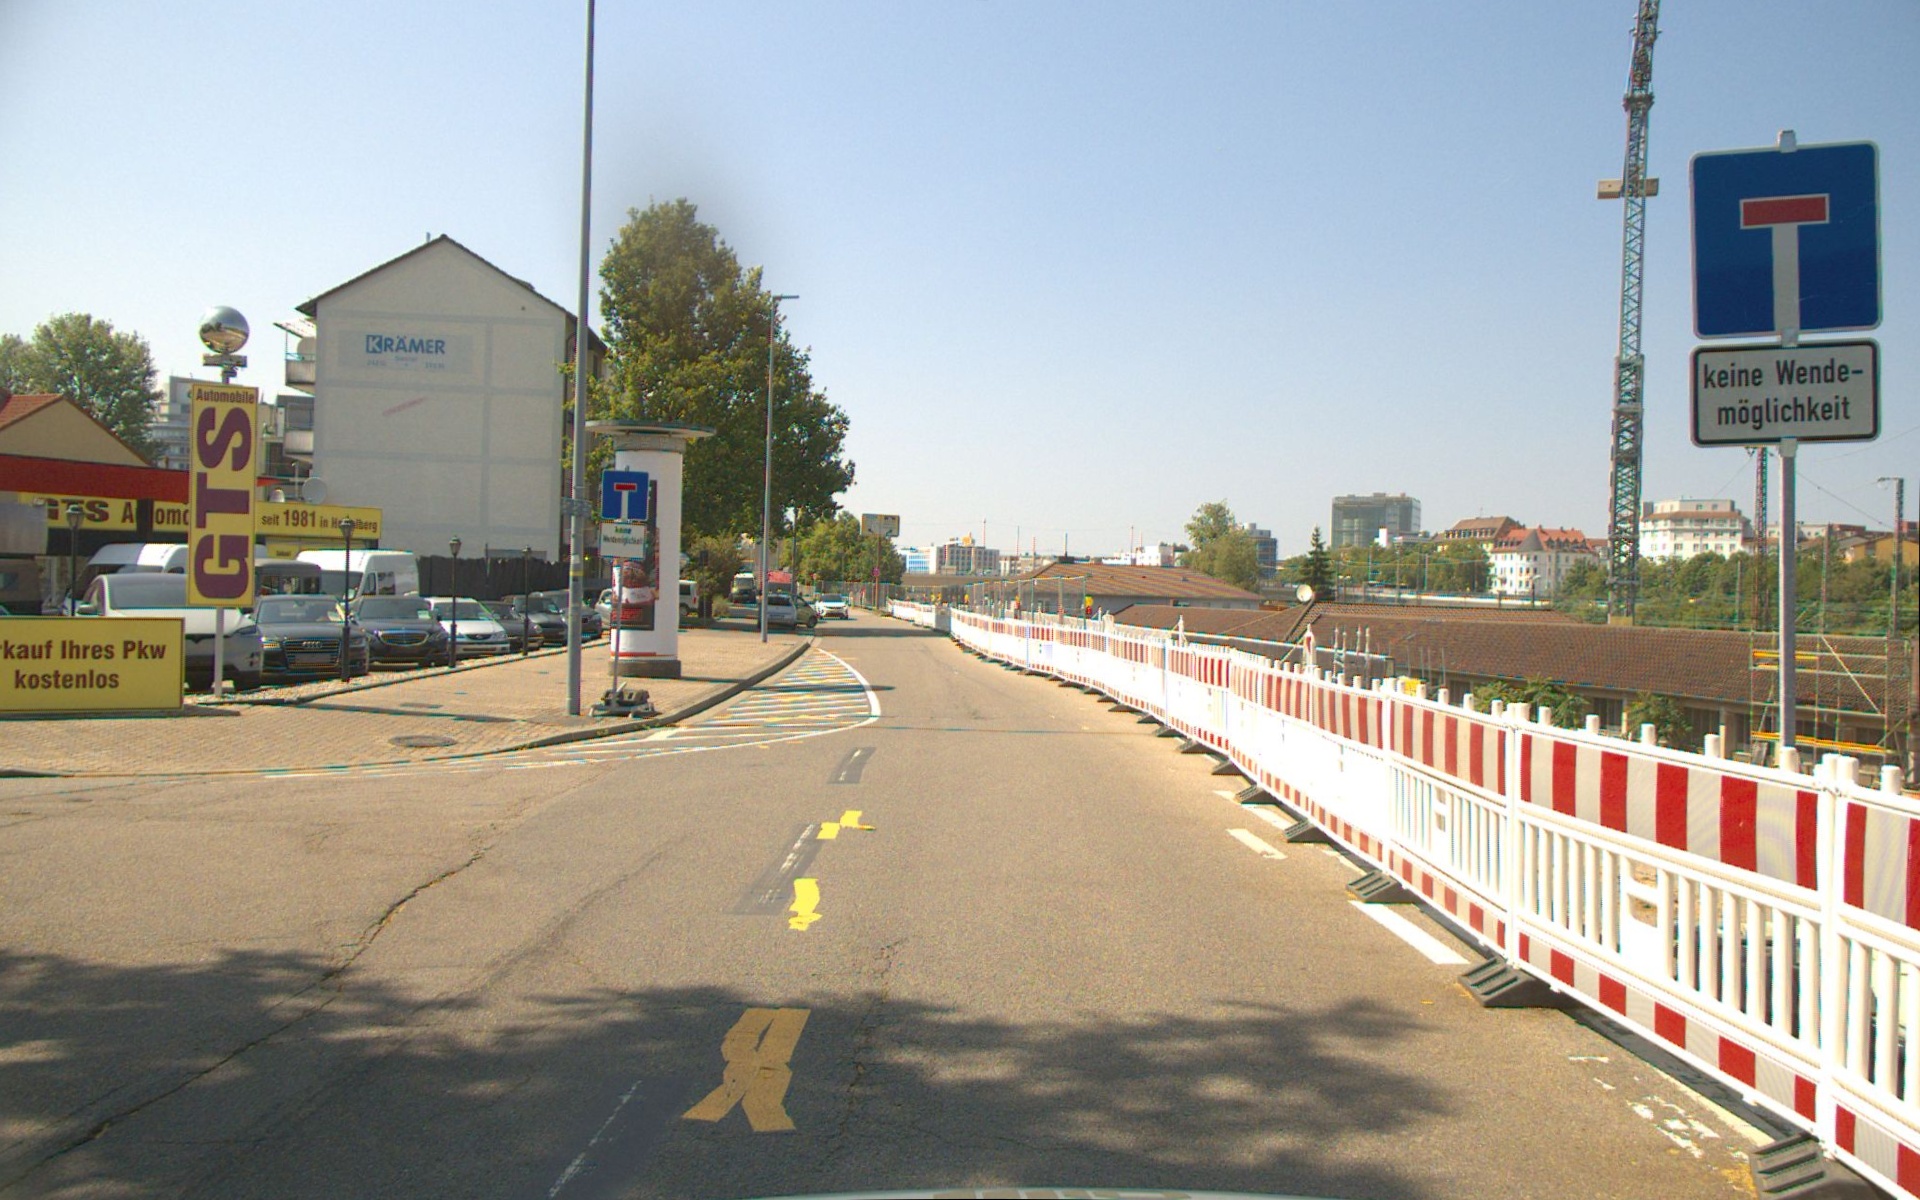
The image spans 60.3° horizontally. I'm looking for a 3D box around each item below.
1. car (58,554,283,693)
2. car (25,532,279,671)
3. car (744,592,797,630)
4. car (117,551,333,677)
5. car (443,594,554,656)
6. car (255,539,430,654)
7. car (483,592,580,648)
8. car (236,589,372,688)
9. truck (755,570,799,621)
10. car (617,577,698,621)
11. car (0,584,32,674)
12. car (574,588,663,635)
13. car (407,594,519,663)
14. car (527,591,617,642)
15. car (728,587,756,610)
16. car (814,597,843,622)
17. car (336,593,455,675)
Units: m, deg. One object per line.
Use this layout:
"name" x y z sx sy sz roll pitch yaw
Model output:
"car" -11.135 0.384 23.141 1.961 1.737 4.601 0 -2 -37
"car" -17.730 0.064 36.749 2.229 2.806 6.155 0 -1 4
"car" -8.160 0.464 71.660 1.831 1.524 4.031 0 1 0
"car" -15.059 0.320 34.246 2.199 2.391 4.824 1 -1 1
"car" -12.053 0.621 43.063 1.652 1.498 3.954 -2 1 -33
"car" -15.109 -0.031 40.881 2.201 2.472 5.716 4 -1 -2
"car" -12.408 0.563 47.744 1.650 1.498 3.958 -1 0 -31
"car" -11.169 0.605 28.023 1.814 1.498 3.966 -2 0 -26
"truck" -10.025 -0.202 90.914 2.194 2.694 5.675 1 -1 -5
"car" -15.180 -0.055 83.048 3.852 1.993 1.755 3 0 -11
"car" -18.343 0.513 28.174 1.868 1.602 4.691 1 0 10
"car" -11.574 0.378 55.904 1.758 1.498 3.958 -1 1 -31
"car" -11.793 0.647 39.074 1.760 1.498 3.962 -2 0 -28
"car" -12.328 0.515 52.410 1.650 1.498 3.958 -2 1 -31
"car" -19.496 -0.147 147.805 1.898 1.866 3.923 5 -1 -1
"car" -7.934 0.561 99.414 1.683 1.440 4.073 1 -1 -5
"car" -11.500 0.646 33.561 1.814 1.498 3.967 -2 1 -26
